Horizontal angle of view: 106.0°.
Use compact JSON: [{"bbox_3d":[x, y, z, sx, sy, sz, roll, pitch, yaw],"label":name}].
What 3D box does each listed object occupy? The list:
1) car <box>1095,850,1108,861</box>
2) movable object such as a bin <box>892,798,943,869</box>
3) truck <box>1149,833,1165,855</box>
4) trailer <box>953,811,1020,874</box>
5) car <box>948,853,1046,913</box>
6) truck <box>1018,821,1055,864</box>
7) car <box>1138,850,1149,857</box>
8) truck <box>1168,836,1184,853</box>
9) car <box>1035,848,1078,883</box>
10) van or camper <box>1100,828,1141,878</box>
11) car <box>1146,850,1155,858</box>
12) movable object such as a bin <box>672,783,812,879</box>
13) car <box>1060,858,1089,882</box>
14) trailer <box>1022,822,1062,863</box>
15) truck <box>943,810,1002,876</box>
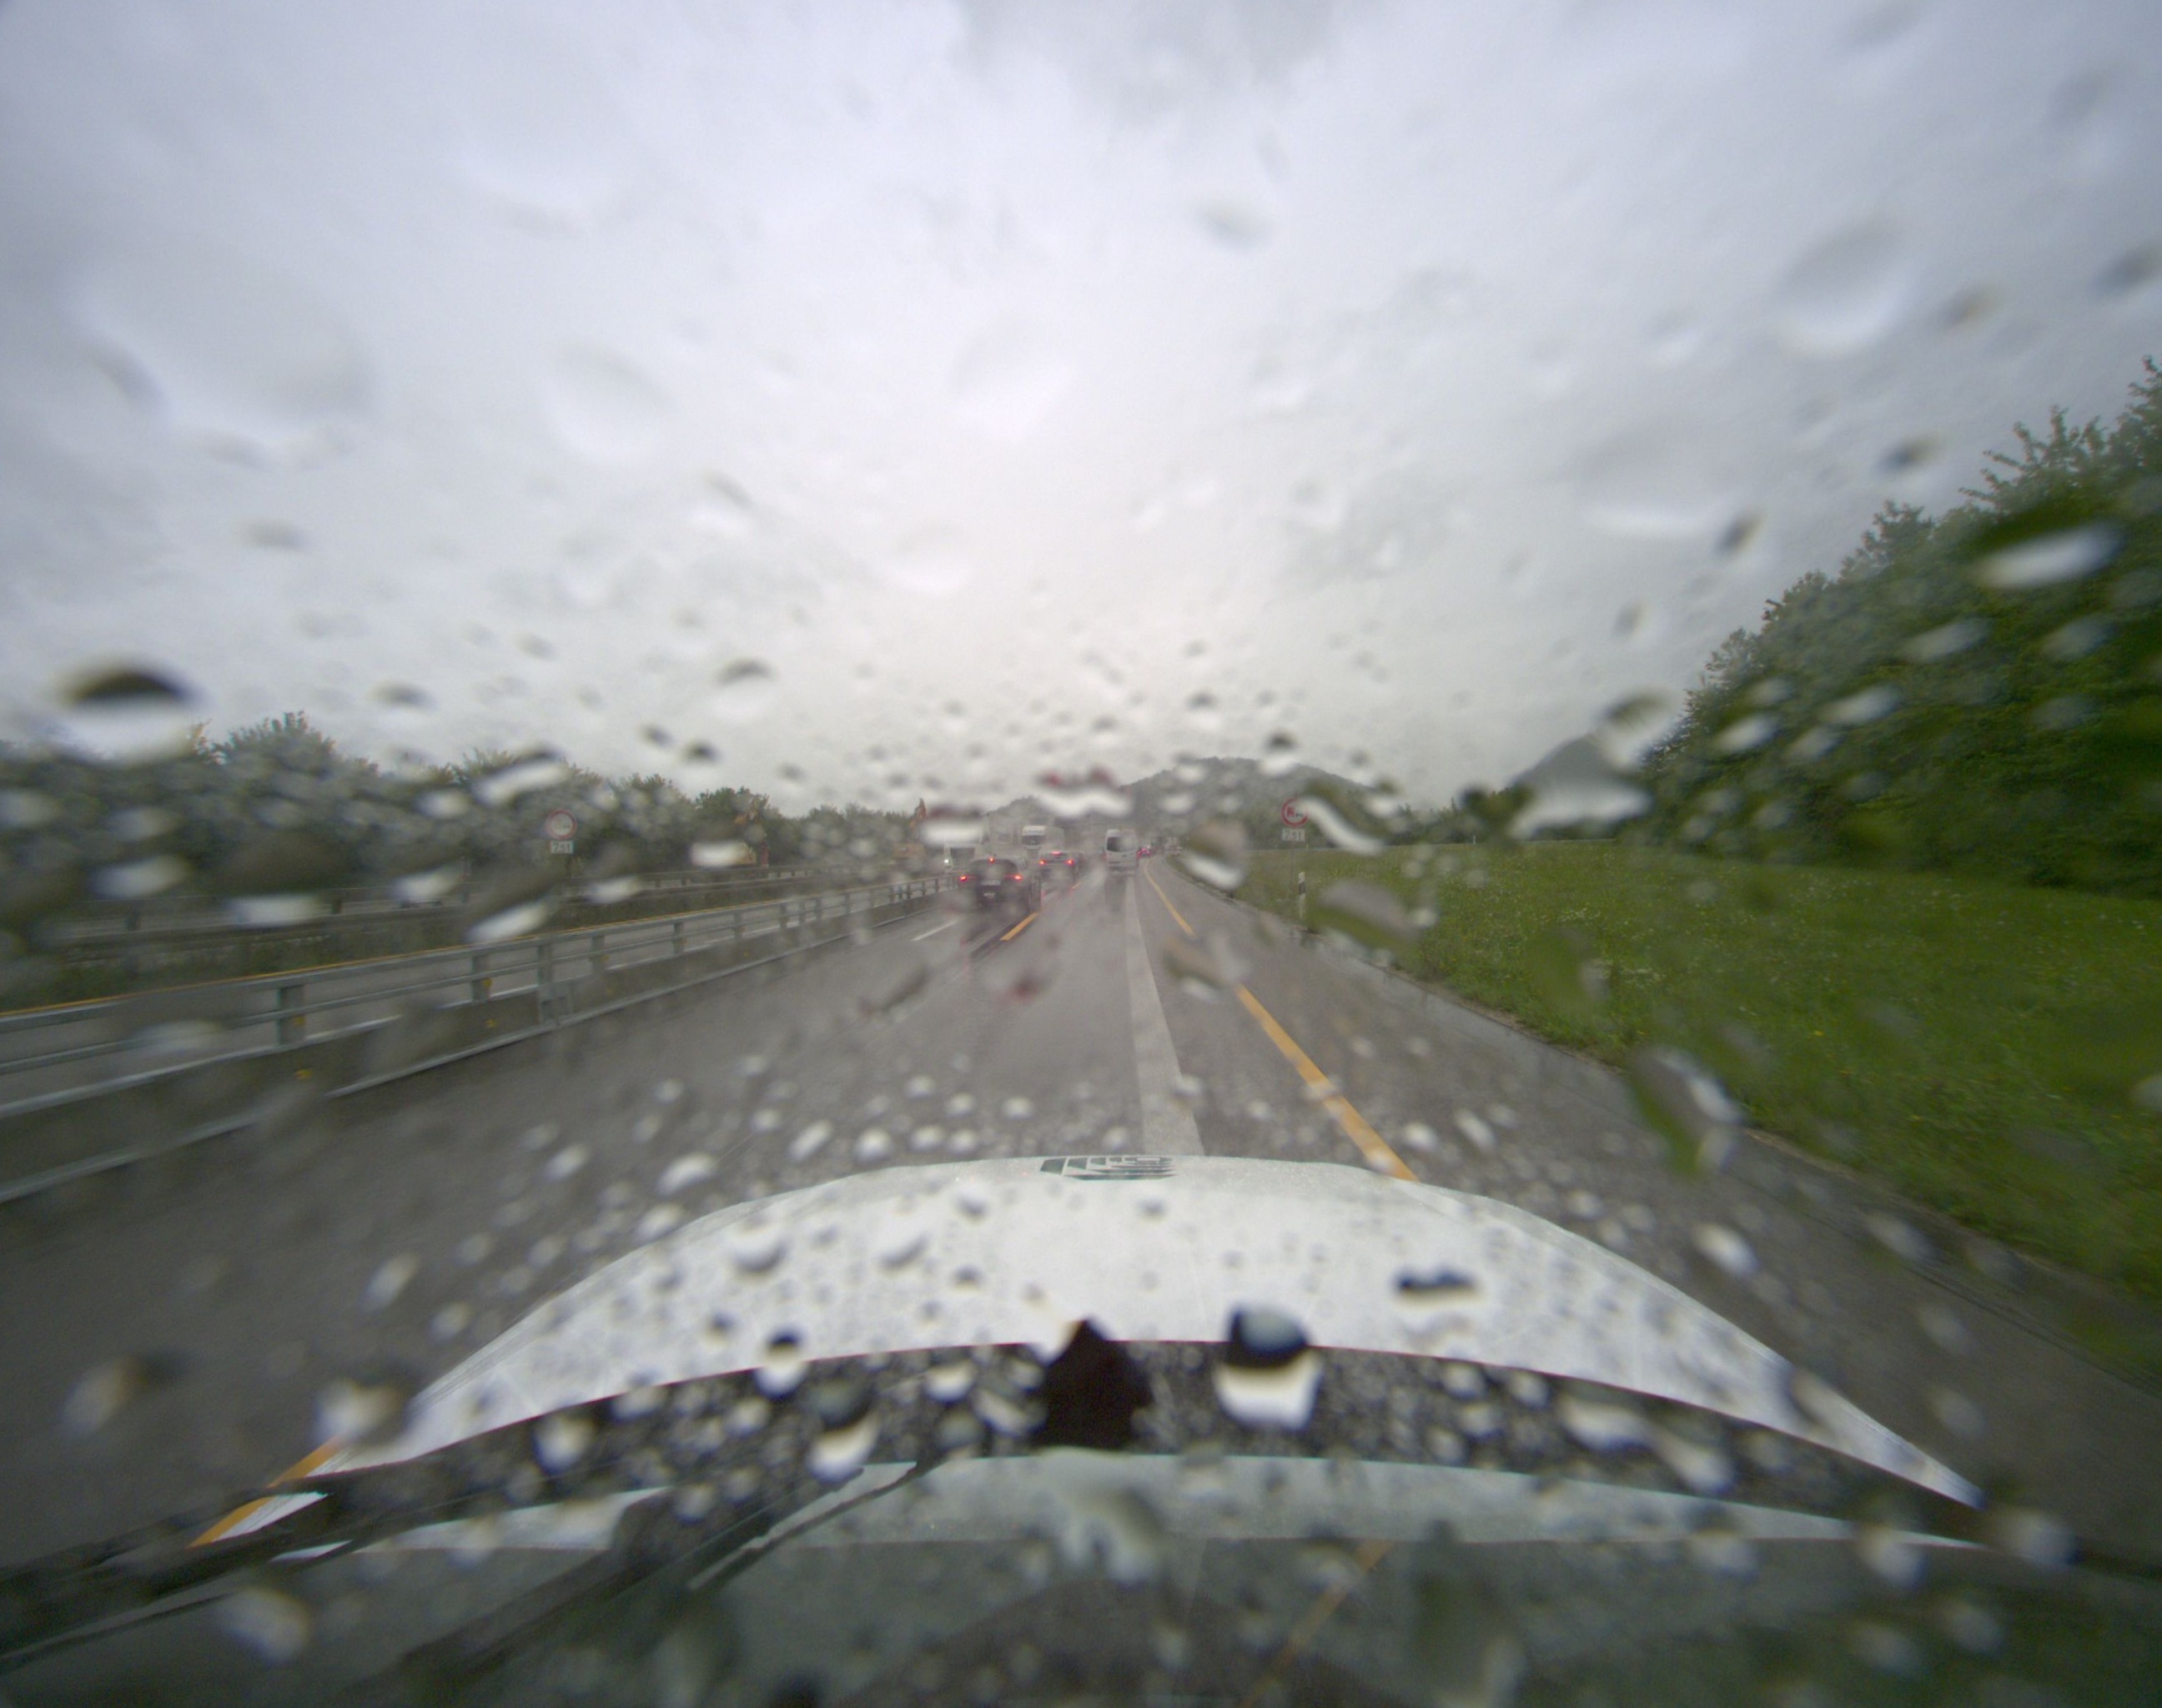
[{"bbox_3d":[2.136,0.184,85.765,1.257,1.078,3.257,-1,0,3],"label":"car"},{"bbox_3d":[-19.390,-2.363,97.189,3.577,8.143,8.323,0,0,7],"label":"movable object such as a bin"},{"bbox_3d":[17.117,-2.103,181.816,3.303,4.785,9.925,0,0,7],"label":"truck"},{"bbox_3d":[-6.567,-0.834,58.987,2.483,4.049,12.600,-2,1,4],"label":"trailer"},{"bbox_3d":[-2.132,0.709,21.985,1.931,1.427,4.763,-1,0,2],"label":"car"},{"bbox_3d":[-4.461,-1.203,83.212,2.871,4.101,6.933,-1,1,4],"label":"truck"},{"bbox_3d":[9.287,-0.067,120.385,1.380,1.078,3.122,-1,0,0],"label":"car"},{"bbox_3d":[28.432,-2.845,243.356,3.903,4.785,9.937,0,0,11],"label":"truck"},{"bbox_3d":[-1.191,0.538,41.584,1.860,1.659,3.990,-1,0,2],"label":"car"},{"bbox_3d":[2.228,-0.066,46.934,2.132,2.721,4.648,-1,0,0],"label":"van or camper"},{"bbox_3d":[12.148,-0.009,142.991,1.379,1.256,3.124,-1,0,3],"label":"car"},{"bbox_3d":[-22.623,-1.397,55.461,4.152,5.915,11.059,0,0,5],"label":"movable object such as a bin"},{"bbox_3d":[-0.440,1.076,56.367,1.845,1.500,4.001,-1,0,1],"label":"car"},{"bbox_3d":[-4.109,-1.277,88.520,2.894,4.089,12.233,-2,1,4],"label":"trailer"},{"bbox_3d":[-6.976,-0.725,53.210,2.472,4.030,6.455,-1,1,4],"label":"truck"}]
